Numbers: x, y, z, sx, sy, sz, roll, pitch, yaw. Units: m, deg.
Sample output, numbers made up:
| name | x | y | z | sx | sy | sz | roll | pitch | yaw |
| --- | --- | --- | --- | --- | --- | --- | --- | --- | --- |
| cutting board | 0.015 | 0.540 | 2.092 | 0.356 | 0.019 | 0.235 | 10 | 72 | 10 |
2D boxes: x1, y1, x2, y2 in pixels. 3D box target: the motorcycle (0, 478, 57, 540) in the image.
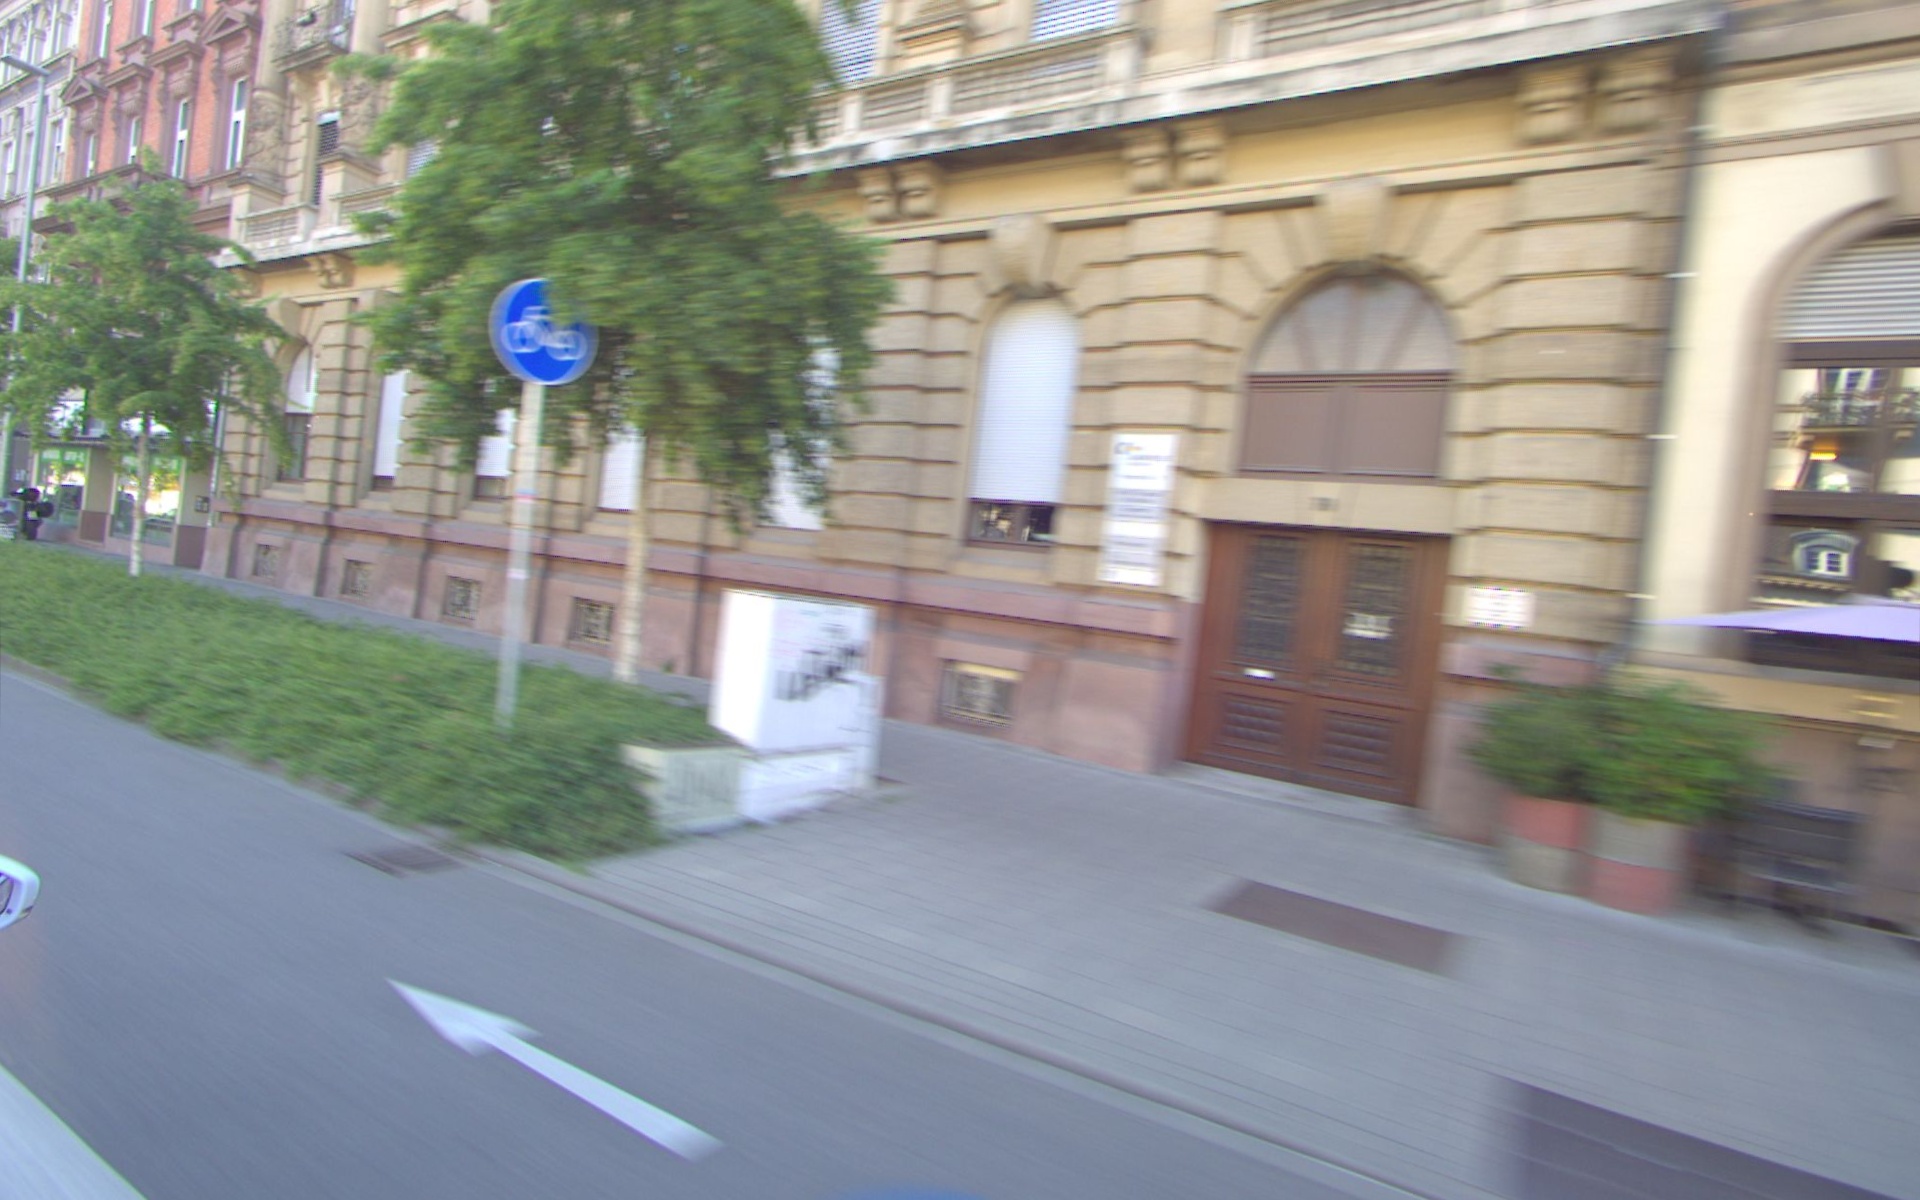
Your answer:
| name | x | y | z | sx | sy | sz | roll | pitch | yaw |
| --- | --- | --- | --- | --- | --- | --- | --- | --- | --- |
| motorcycle | -24.043 | -2.357 | 25.595 | 2.804 | 1.326 | 0.795 | 8 | 3 | 32 |
